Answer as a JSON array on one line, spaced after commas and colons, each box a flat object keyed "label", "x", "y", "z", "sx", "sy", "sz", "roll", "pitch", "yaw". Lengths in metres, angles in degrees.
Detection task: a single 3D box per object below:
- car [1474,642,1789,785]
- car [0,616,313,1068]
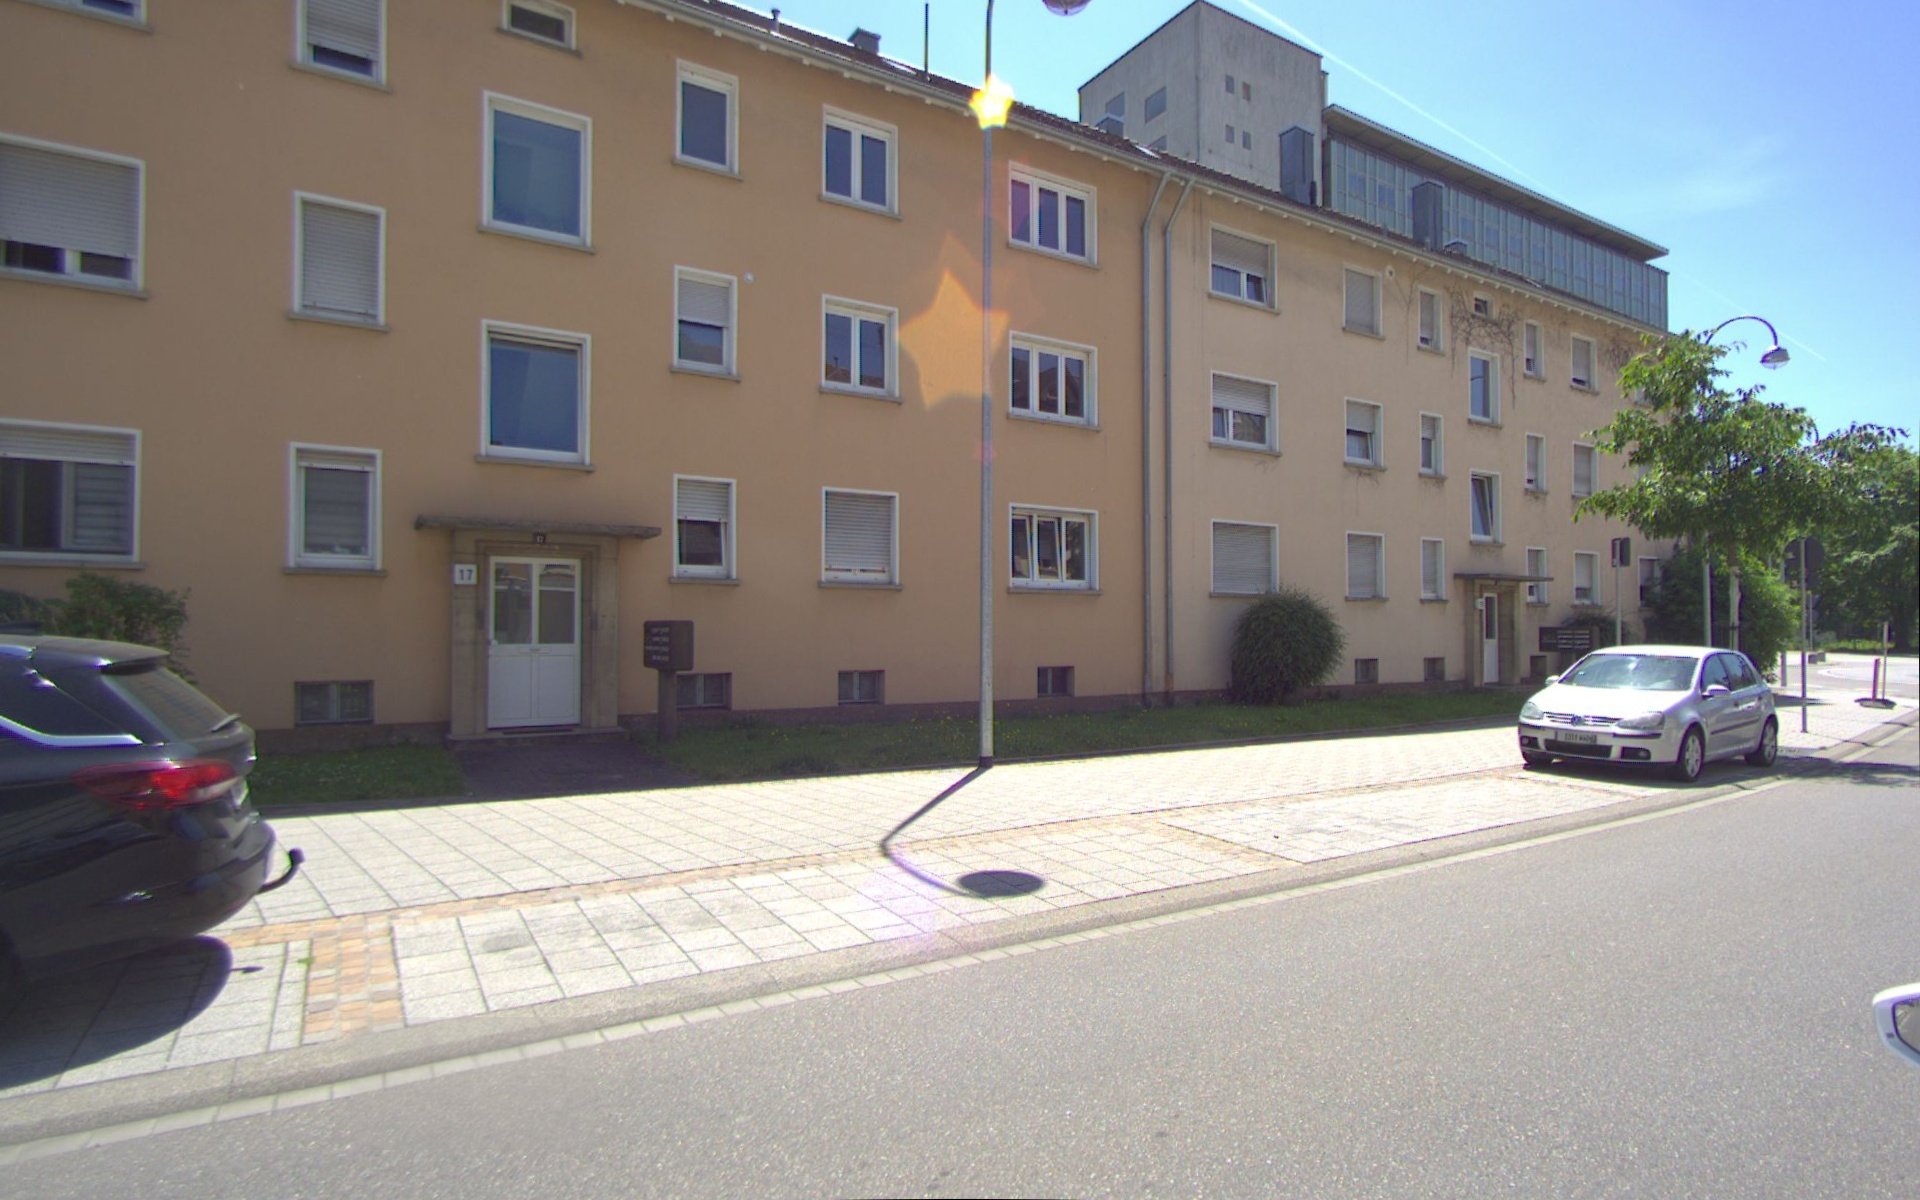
[{"label": "car", "x": 8.340, "y": 1.268, "z": 12.381, "sx": 4.049, "sy": 1.439, "sz": 1.980, "roll": 2, "pitch": -2, "yaw": -36}, {"label": "car", "x": -4.963, "y": 0.830, "z": 3.499, "sx": 4.513, "sy": 1.527, "sz": 1.846, "roll": 1, "pitch": 0, "yaw": -33}]
